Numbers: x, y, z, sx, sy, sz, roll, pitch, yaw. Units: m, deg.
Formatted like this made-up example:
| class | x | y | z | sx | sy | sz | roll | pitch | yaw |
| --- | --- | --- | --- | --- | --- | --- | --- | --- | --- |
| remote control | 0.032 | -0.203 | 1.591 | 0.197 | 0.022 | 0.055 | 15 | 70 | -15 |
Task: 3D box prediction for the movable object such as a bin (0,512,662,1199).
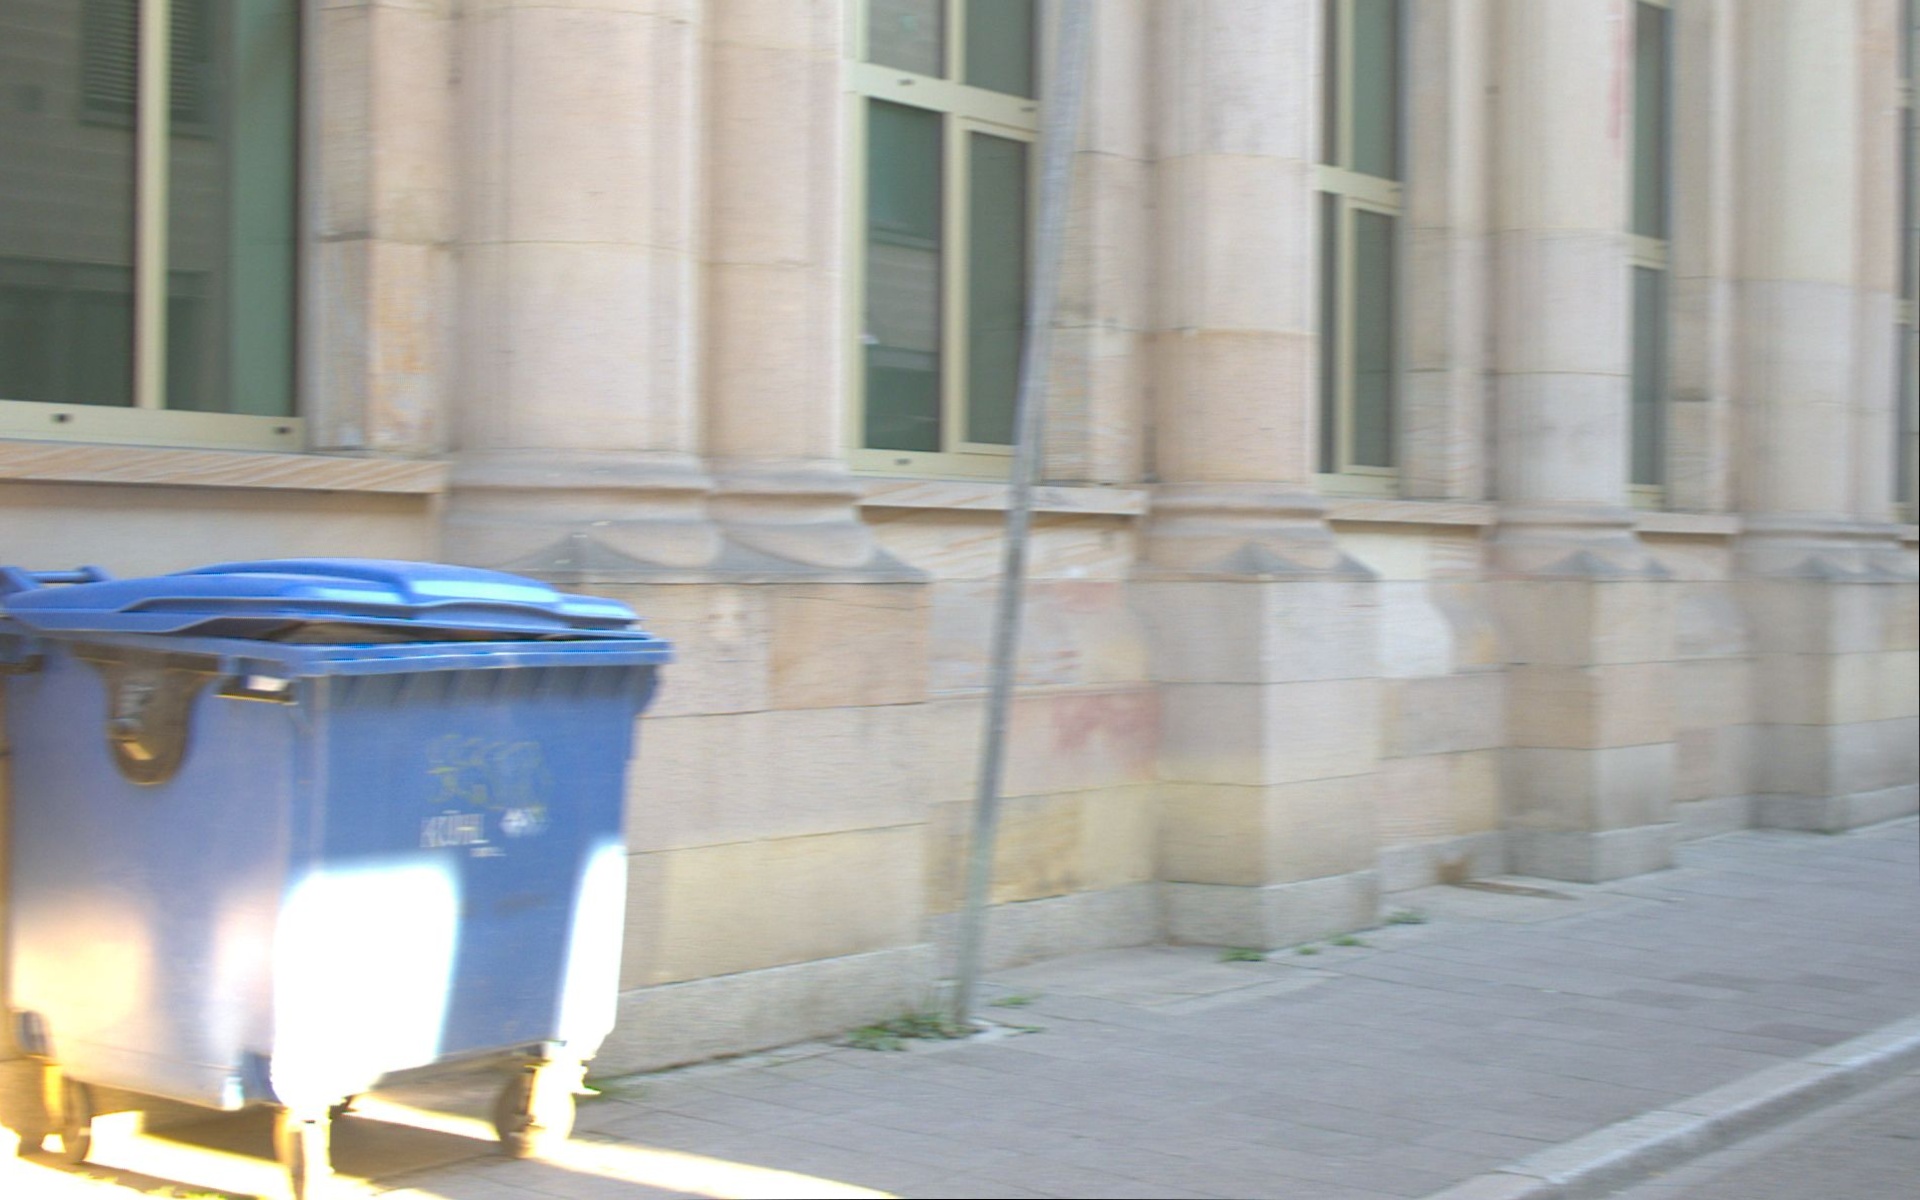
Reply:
| class | x | y | z | sx | sy | sz | roll | pitch | yaw |
| --- | --- | --- | --- | --- | --- | --- | --- | --- | --- |
| movable object such as a bin | -1.485 | 0.560 | 7.707 | 1.076 | 1.469 | 1.184 | 3 | 2 | 36 |
